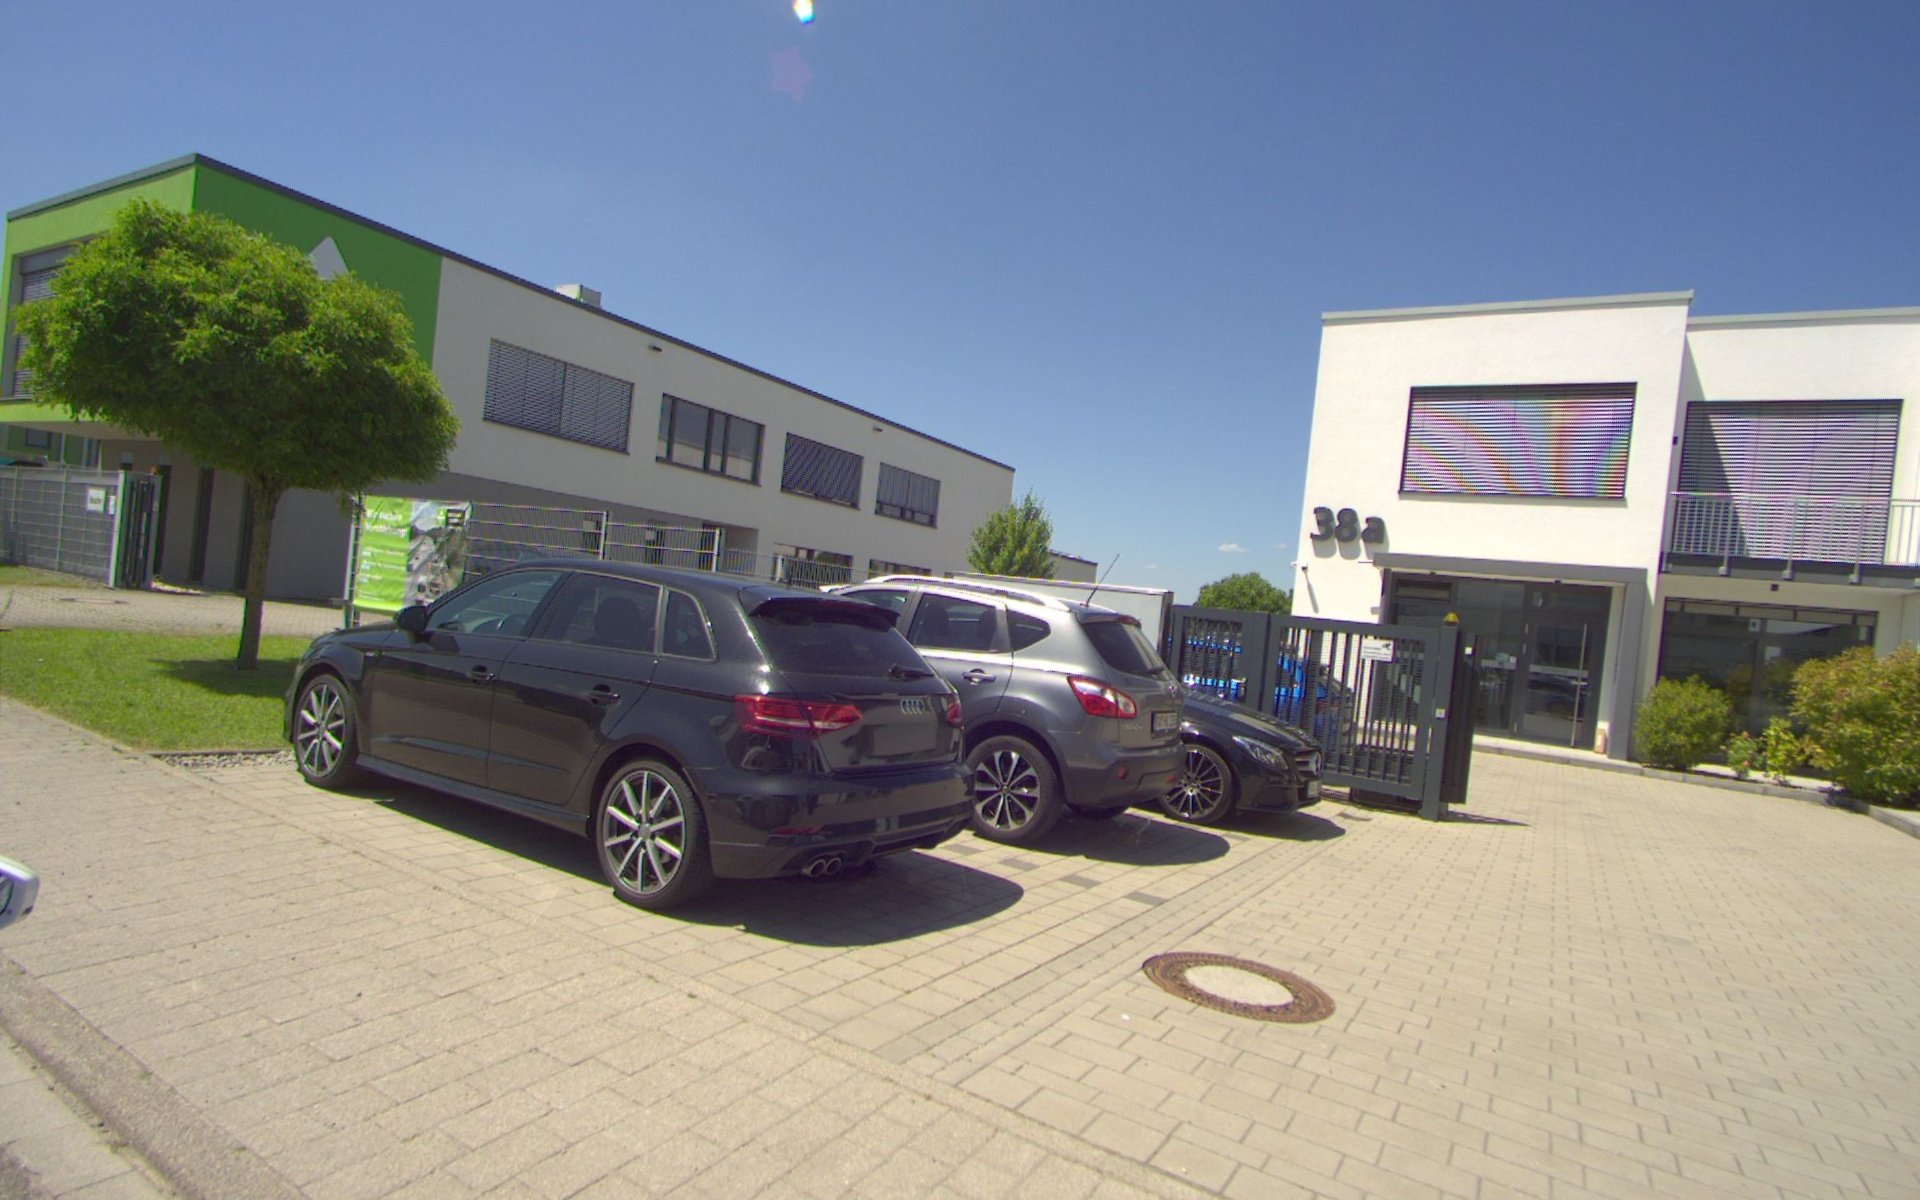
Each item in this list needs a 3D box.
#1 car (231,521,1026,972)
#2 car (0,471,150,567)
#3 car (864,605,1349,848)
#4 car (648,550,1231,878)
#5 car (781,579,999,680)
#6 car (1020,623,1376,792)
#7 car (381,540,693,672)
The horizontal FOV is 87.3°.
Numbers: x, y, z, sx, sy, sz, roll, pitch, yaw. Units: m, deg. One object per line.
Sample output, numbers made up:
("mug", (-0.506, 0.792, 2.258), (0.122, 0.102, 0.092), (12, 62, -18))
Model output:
("car", (-1.942, 0.517, 5.465), (4.175, 1.445, 1.695), (6, -1, 31))
("car", (-28.217, -2.602, 31.554), (6.909, 2.527, 2.130), (6, 2, 32))
("car", (1.282, 1.024, 9.293), (3.955, 1.467, 1.726), (6, -1, 31))
("car", (-0.239, 0.681, 7.592), (3.955, 1.652, 1.726), (6, -1, 31))
("car", (-1.434, 0.576, 20.125), (3.988, 1.656, 1.740), (4, -1, 31))
("car", (2.970, 1.273, 12.776), (3.955, 1.453, 1.726), (6, -1, 31))
("car", (-5.675, 0.063, 13.394), (3.988, 1.415, 1.740), (4, -2, 31))
